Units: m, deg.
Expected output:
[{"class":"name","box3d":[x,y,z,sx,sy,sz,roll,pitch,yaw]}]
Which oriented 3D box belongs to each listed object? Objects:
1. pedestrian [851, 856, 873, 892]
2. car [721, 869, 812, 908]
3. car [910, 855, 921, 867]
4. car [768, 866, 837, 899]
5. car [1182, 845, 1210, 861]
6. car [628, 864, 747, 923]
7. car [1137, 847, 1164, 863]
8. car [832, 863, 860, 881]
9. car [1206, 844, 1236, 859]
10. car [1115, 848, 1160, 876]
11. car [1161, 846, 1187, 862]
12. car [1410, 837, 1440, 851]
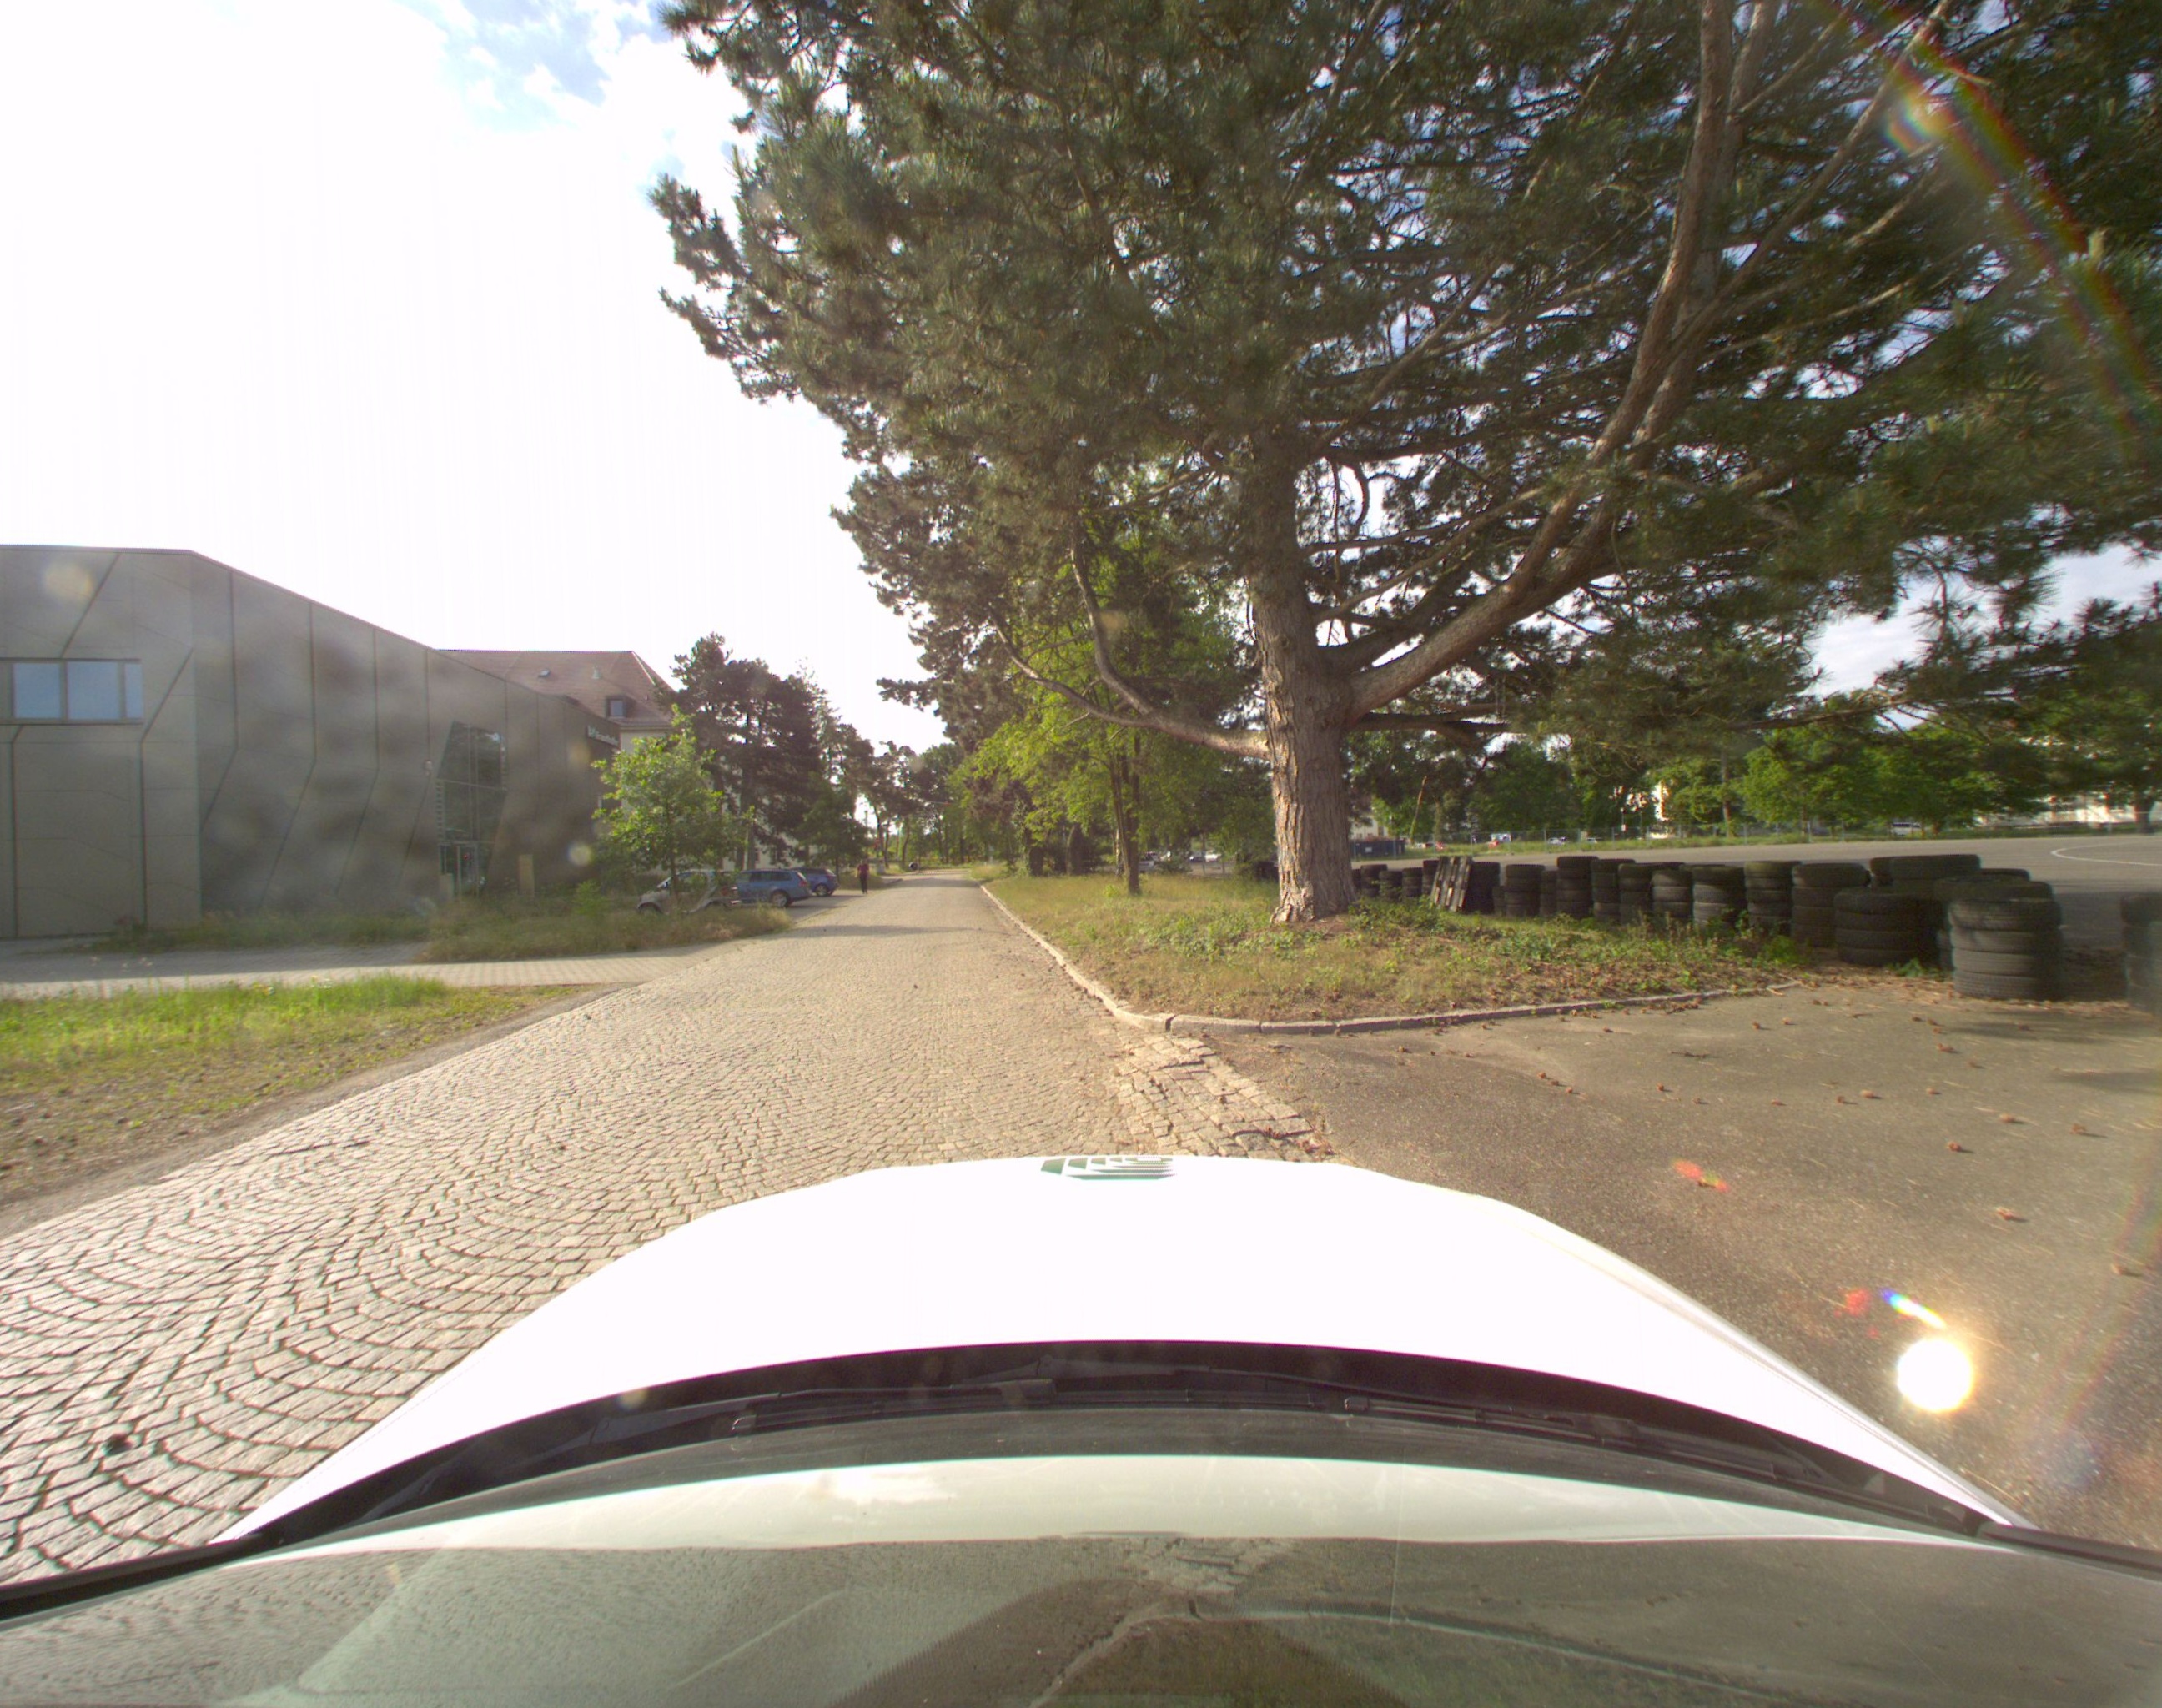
[{"class":"pedestrian","box3d":[-11.673,1.065,43.400,0.960,1.844,0.948,-2,0,-23]},{"class":"car","box3d":[-12.050,1.300,31.358,3.088,1.457,1.485,0,-1,-14]},{"class":"car","box3d":[-29.553,1.307,145.262,1.697,2.013,3.988,-2,0,-9]},{"class":"car","box3d":[-13.806,1.380,40.495,3.089,1.450,1.484,-2,0,-16]},{"class":"car","box3d":[12.476,-0.082,88.574,1.993,1.618,3.988,-2,0,-9]},{"class":"car","box3d":[-11.554,1.135,24.041,2.756,1.549,1.422,-2,0,-6]},{"class":"car","box3d":[7.408,0.134,87.160,1.993,1.618,3.988,-2,0,-9]},{"class":"car","box3d":[-22.597,1.695,78.498,1.993,1.618,3.988,-2,0,-9]},{"class":"car","box3d":[15.318,-0.253,89.367,1.993,1.618,3.988,-2,0,-9]},{"class":"car","box3d":[3.332,0.468,48.624,1.885,1.541,3.989,-2,0,-8]},{"class":"car","box3d":[10.026,0.033,87.866,1.819,1.618,3.990,-2,0,-7]},{"class":"car","box3d":[44.497,-1.306,105.369,1.990,1.750,3.994,-2,0,-4]}]
